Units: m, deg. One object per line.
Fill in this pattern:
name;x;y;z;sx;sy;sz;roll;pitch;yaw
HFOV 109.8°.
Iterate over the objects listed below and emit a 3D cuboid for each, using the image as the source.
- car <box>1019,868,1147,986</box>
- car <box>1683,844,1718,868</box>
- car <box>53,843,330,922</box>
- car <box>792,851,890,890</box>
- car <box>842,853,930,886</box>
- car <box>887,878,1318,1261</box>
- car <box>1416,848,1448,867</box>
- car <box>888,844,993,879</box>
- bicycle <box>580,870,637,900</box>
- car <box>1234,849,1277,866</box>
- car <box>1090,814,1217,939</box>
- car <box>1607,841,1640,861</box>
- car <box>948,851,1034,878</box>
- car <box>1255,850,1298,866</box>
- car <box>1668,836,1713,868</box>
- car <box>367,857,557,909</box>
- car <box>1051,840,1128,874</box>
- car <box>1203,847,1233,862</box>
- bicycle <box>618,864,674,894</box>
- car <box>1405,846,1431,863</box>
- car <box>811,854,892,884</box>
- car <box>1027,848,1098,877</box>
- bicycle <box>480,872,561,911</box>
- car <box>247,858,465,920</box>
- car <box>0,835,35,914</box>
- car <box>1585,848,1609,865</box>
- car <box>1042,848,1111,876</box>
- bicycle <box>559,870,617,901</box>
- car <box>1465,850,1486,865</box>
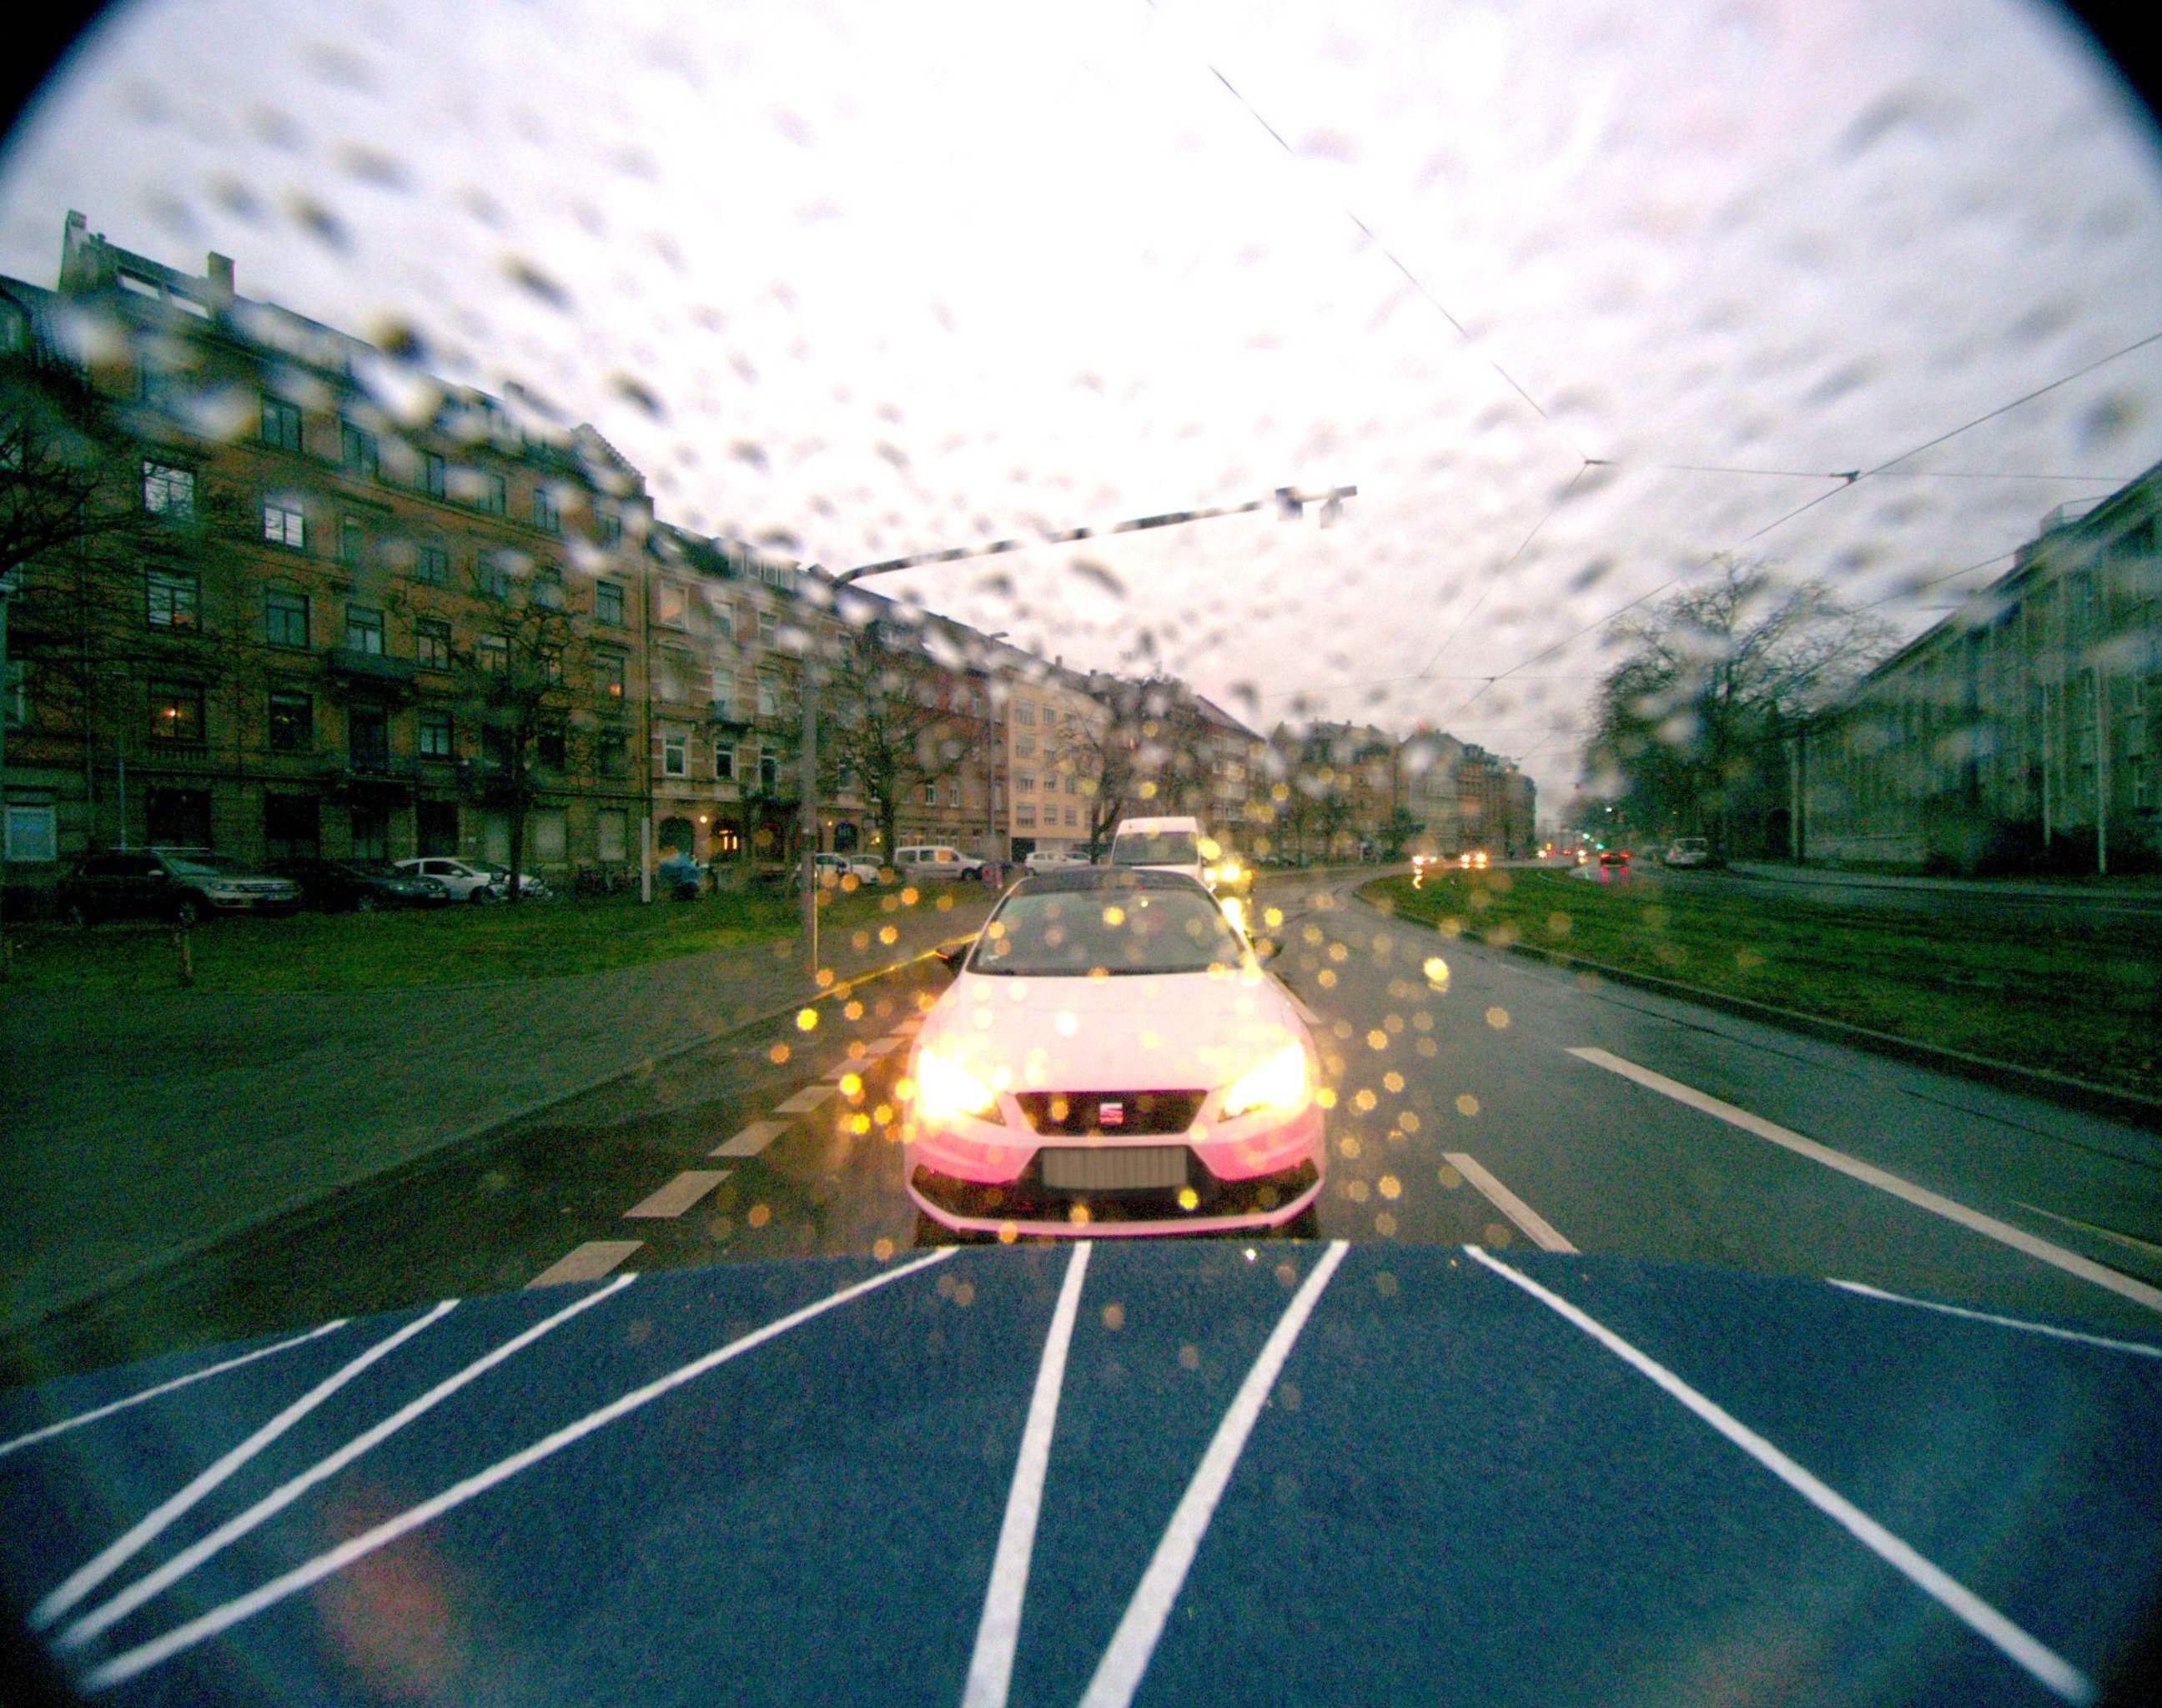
car;0.131;0.956;11.144;1.589;1.418;3.135;-1;0;4
car;39.405;0.129;48.374;1.557;1.420;2.960;-1;1;36
car;-19.513;0.573;16.806;3.996;1.627;1.944;0;1;4
car;-9.976;0.676;31.705;3.462;1.435;1.615;-2;0;6
car;-8.720;0.673;34.131;3.430;1.343;1.664;-2;0;2
car;0.157;0.962;4.985;1.715;1.404;3.680;-3;0;2
car;27.997;0.251;60.481;1.892;1.405;3.954;-1;0;31
car;-6.711;0.353;36.521;4.659;1.583;1.778;1;1;3
bicycle;-15.865;1.058;25.507;2.165;0.960;0.627;-2;-2;28
car;15.880;0.287;69.180;3.760;1.346;1.603;-3;0;11
car;1.867;0.445;17.425;2.127;2.366;5.644;-2;0;13
car;43.157;-0.272;60.412;1.658;1.392;4.531;-3;0;40
car;-4.543;0.522;38.764;4.058;1.227;1.771;1;0;6
car;18.563;0.361;72.267;3.760;1.346;1.603;-3;0;11
car;41.826;-0.190;52.197;1.995;2.002;4.518;-3;0;35
car;-17.152;0.782;21.178;3.856;1.329;1.698;-1;0;-1
car;0.508;0.195;48.547;4.720;1.971;1.799;-2;0;-2
car;14.515;0.082;80.445;1.470;1.534;3.880;0;1;38
bicycle;-15.076;0.850;26.314;2.165;0.960;0.627;0;1;28
car;34.913;0.043;78.663;1.718;1.608;3.947;-1;0;36
car;-12.643;0.798;42.043;1.733;1.492;4.058;-3;-1;32
car;-1.034;0.468;43.731;3.770;1.424;1.762;-3;0;9
bicycle;-14.417;0.944;19.579;1.655;0.931;0.513;0;0;-35
car;-17.938;0.840;18.926;3.742;1.346;1.677;-2;-1;-2
car;-29.110;0.524;17.974;1.994;2.002;4.997;1;1;33
car;50.209;0.201;73.898;1.822;1.426;4.664;-3;0;35
car;-0.284;0.473;45.847;3.998;1.406;1.641;-3;0;-2
bicycle;-16.179;1.046;24.926;2.165;0.960;0.627;-2;-2;28
car;41.593;0.371;80.092;1.836;1.477;3.528;-1;0;28
